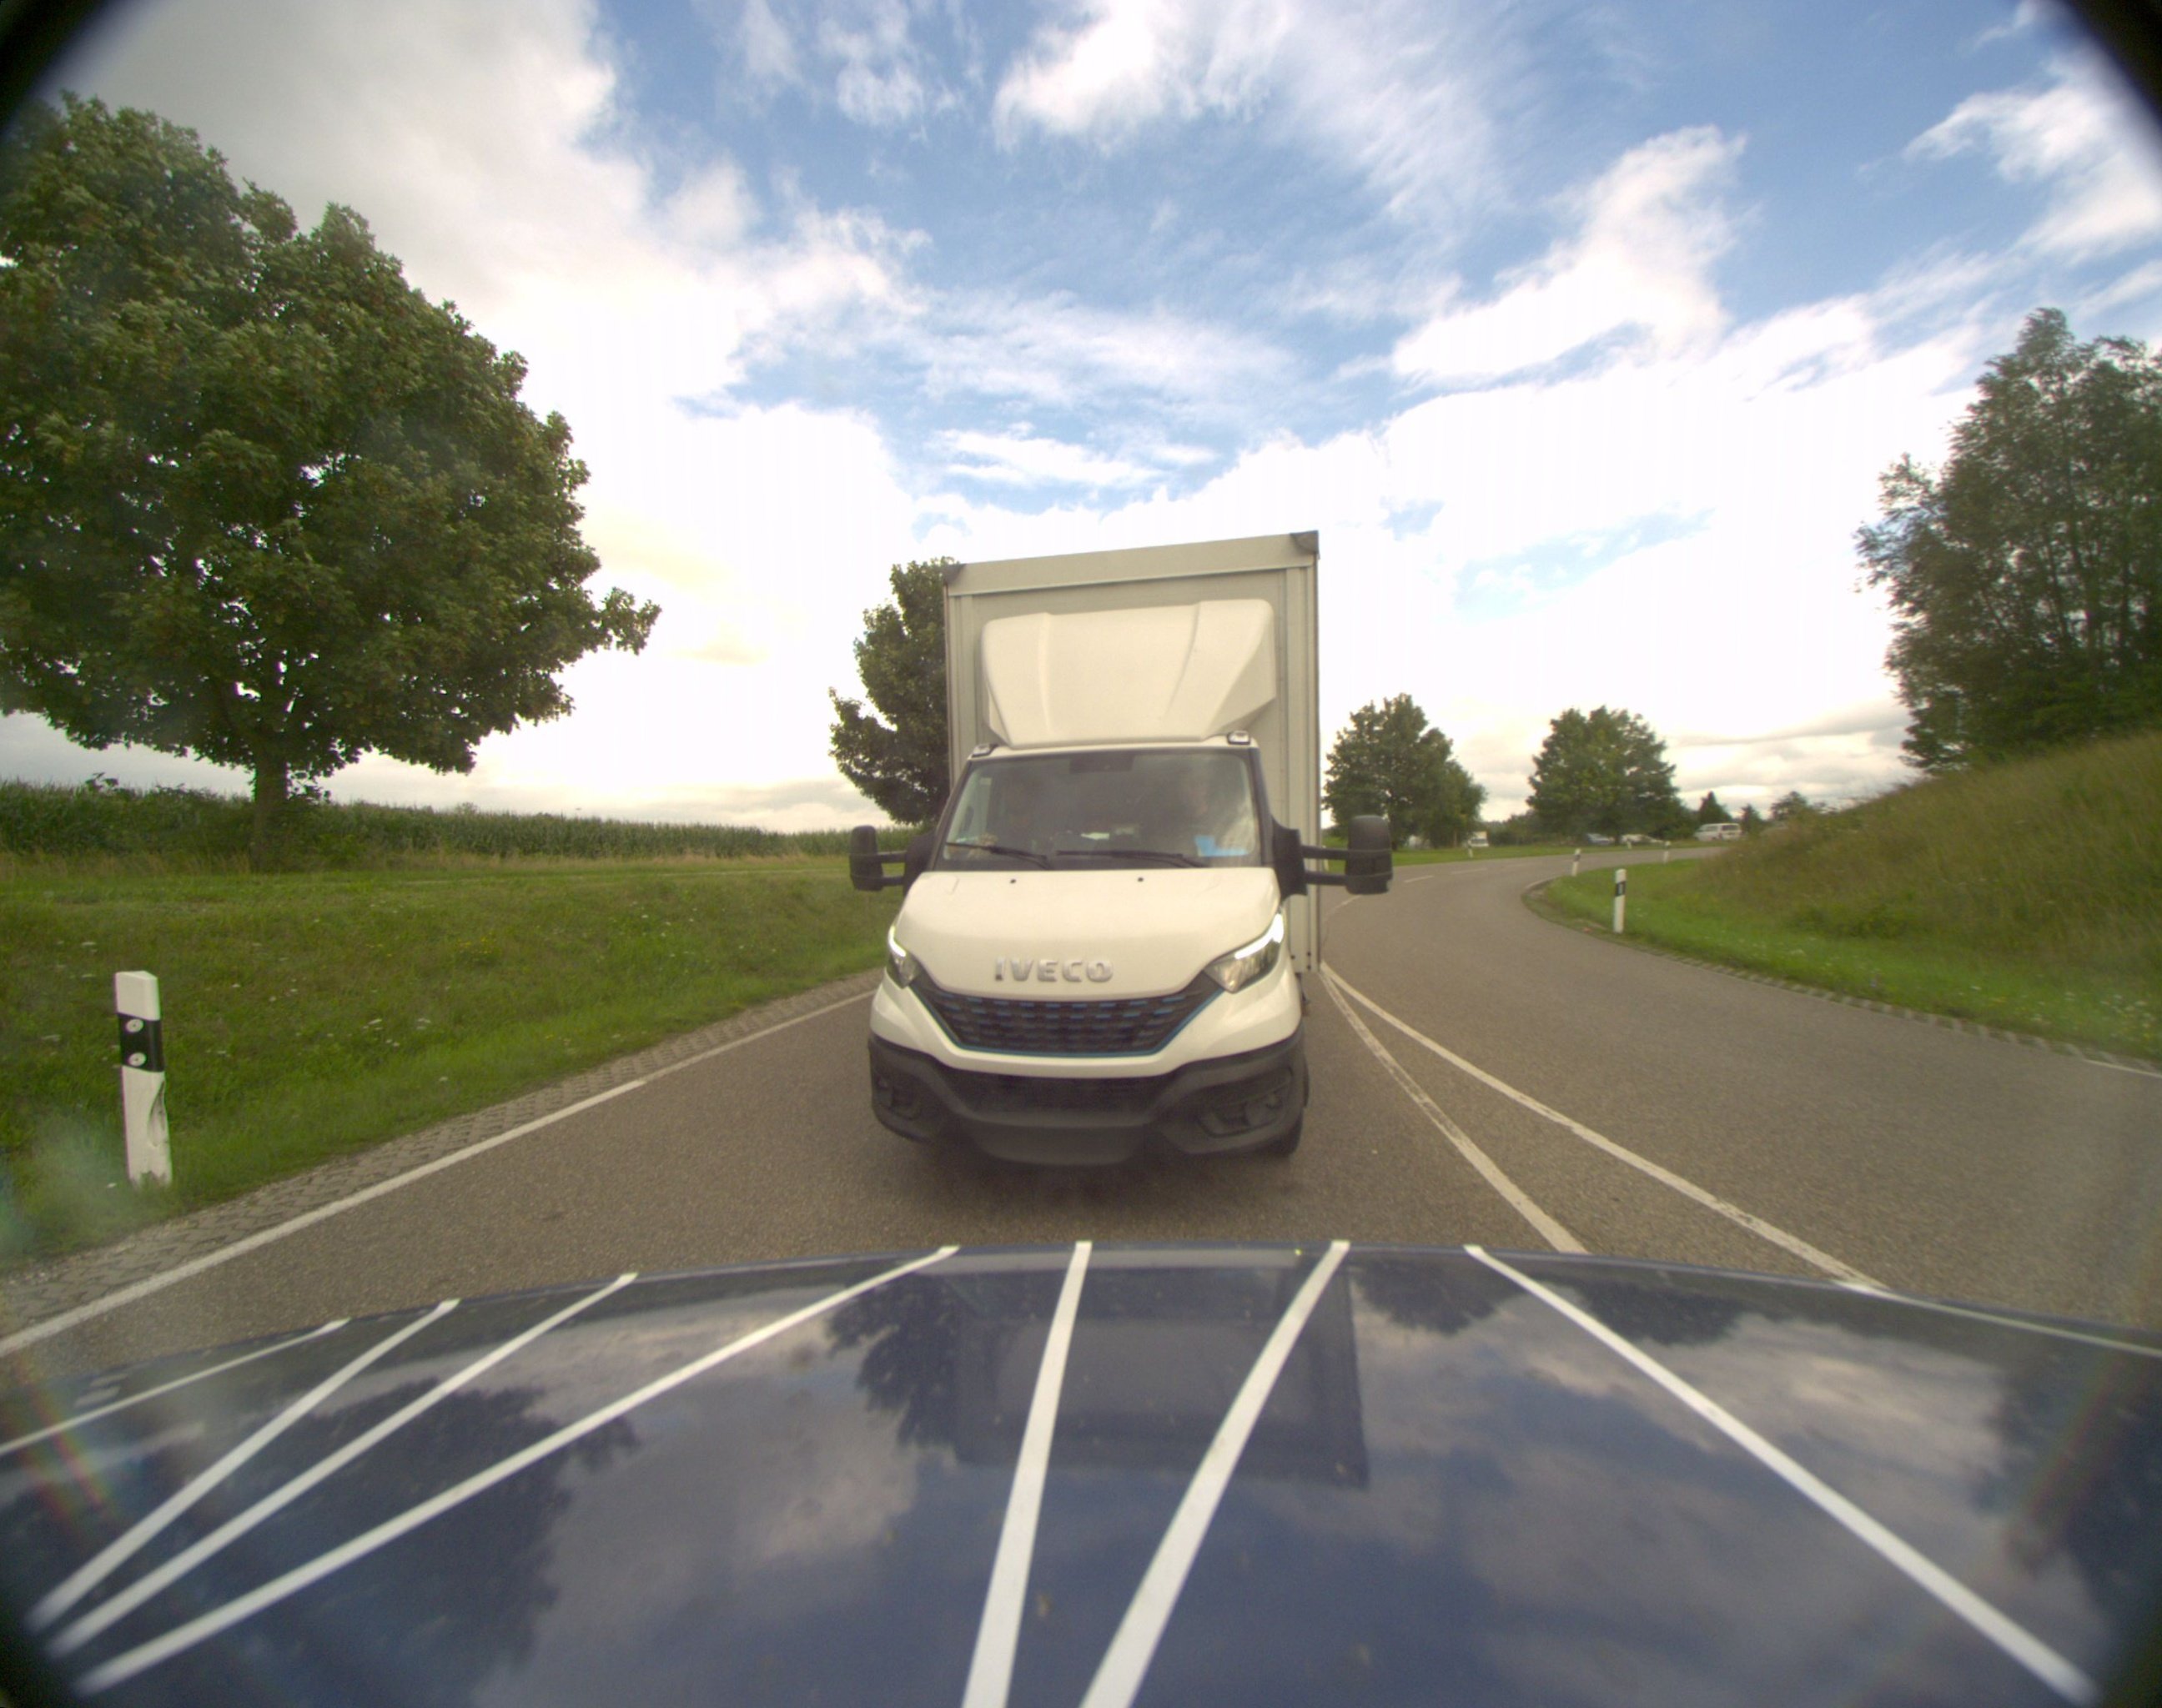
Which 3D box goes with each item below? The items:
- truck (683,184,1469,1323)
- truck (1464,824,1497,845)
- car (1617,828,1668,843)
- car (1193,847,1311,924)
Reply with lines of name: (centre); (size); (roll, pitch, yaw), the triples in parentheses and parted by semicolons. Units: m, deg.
truck: (0.667, -0.343, 7.080); (2.835, 3.742, 8.806); (-1, 1, 10)
truck: (49.815, -2.349, 94.874); (2.288, 2.407, 6.389); (-2, 0, 15)
car: (64.049, -2.097, 86.792); (4.393, 1.576, 2.003); (-2, 0, 26)
car: (3.868, 0.613, 16.668); (1.747, 1.457, 4.006); (-2, 0, 23)
